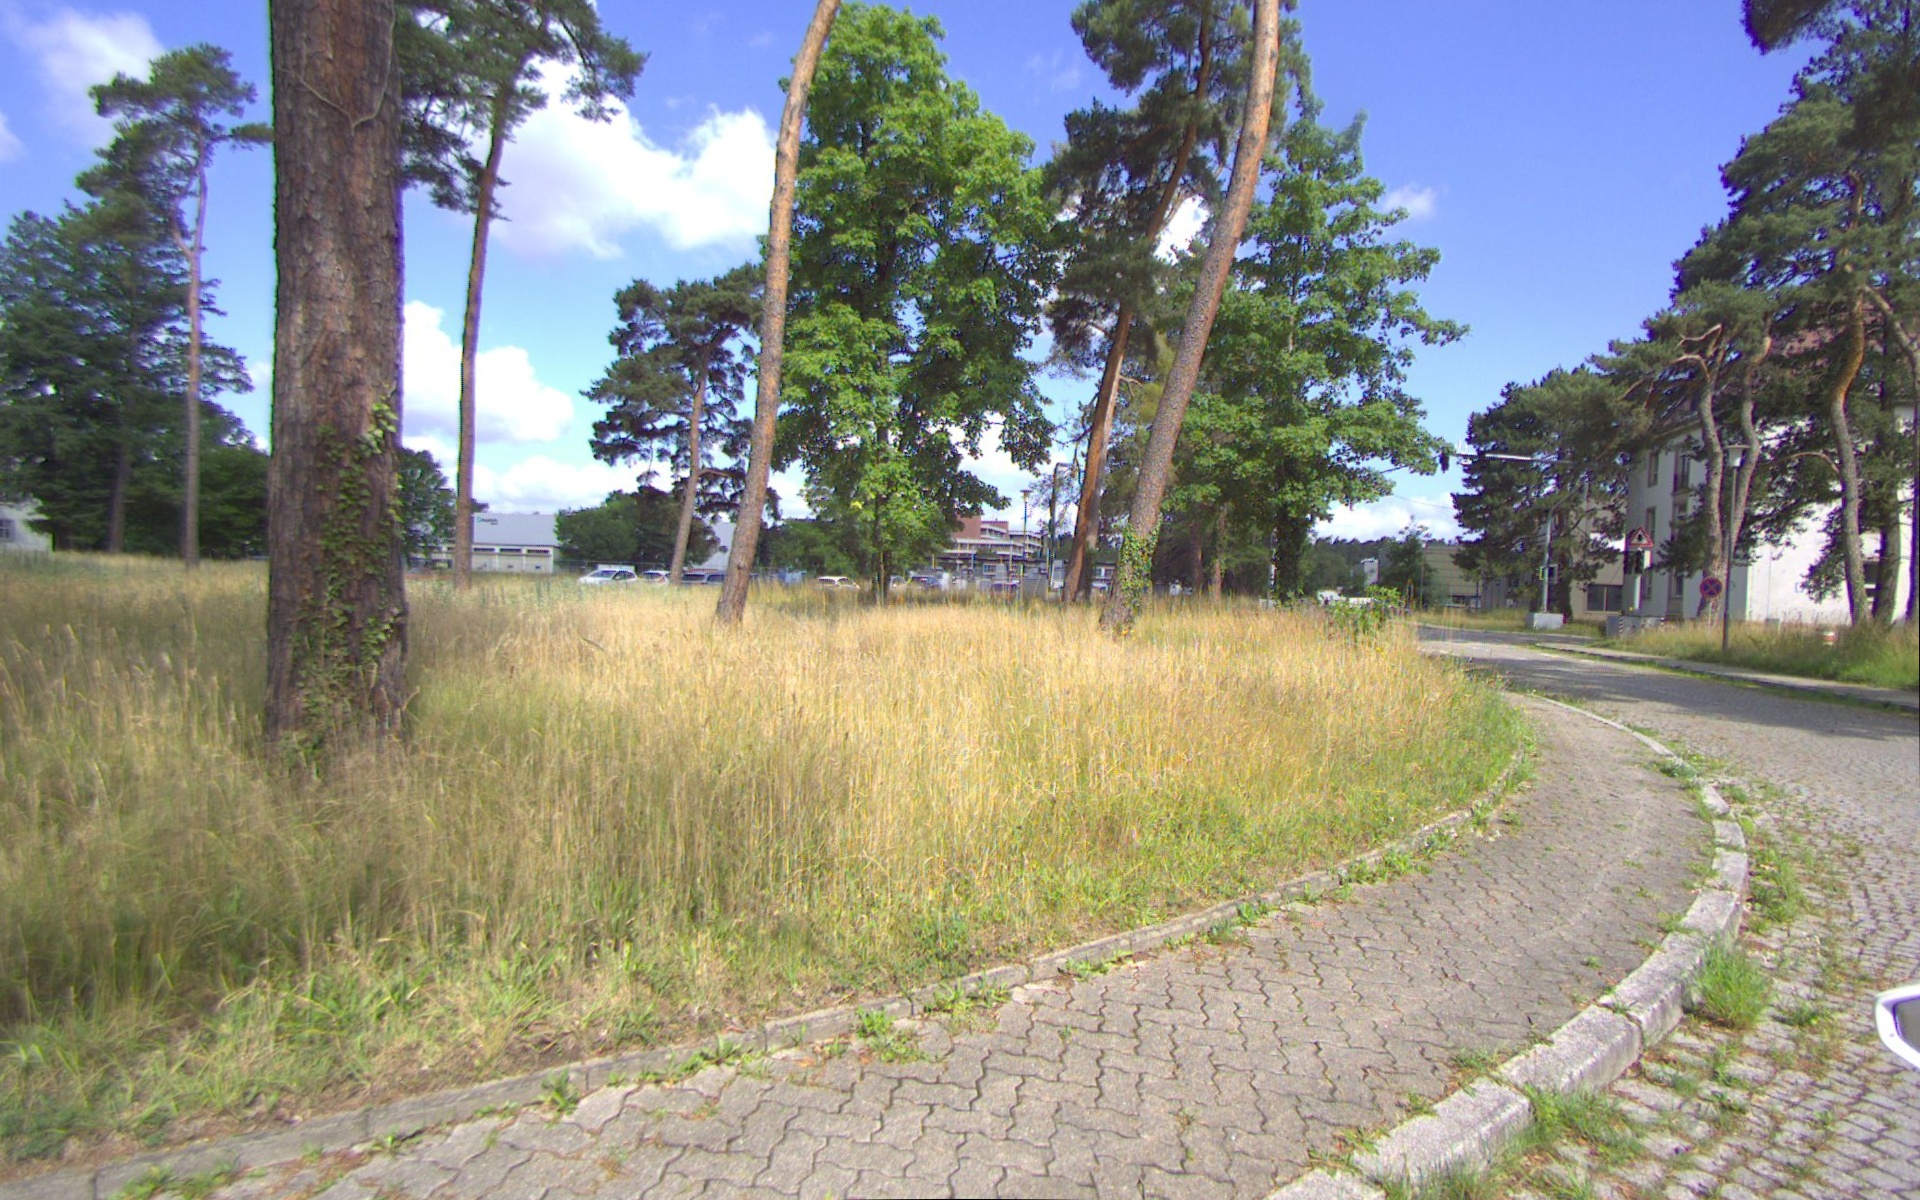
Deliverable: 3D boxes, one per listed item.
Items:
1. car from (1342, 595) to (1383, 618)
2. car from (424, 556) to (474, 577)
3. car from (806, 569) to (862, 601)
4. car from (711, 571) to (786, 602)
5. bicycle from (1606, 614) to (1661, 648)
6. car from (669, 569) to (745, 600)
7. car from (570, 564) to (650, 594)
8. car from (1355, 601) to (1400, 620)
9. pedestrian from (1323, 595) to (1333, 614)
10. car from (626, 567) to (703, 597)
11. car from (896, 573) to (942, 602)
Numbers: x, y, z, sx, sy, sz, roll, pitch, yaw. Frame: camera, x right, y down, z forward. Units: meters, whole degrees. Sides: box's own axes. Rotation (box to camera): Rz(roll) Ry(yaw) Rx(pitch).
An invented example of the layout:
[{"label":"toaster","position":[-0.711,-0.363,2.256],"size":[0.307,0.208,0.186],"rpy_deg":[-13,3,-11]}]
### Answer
[{"label":"car","position":[39.795,0.642,99.212],"size":[3.622,2.116,1.729],"rpy_deg":[3,1,25]},{"label":"car","position":[-46.959,-3.042,92.389],"size":[1.862,1.725,4.081],"rpy_deg":[3,1,14]},{"label":"car","position":[-7.339,-0.853,58.764],"size":[1.862,1.725,4.081],"rpy_deg":[3,1,14]},{"label":"car","position":[-9.983,-0.636,47.647],"size":[1.862,1.327,4.081],"rpy_deg":[3,1,14]},{"label":"bicycle","position":[24.560,1.130,36.660],"size":[1.557,1.115,0.491],"rpy_deg":[3,1,27]},{"label":"car","position":[-12.158,-0.724,48.545],"size":[1.862,1.337,4.081],"rpy_deg":[3,1,14]},{"label":"car","position":[-17.611,-1.017,50.717],"size":[1.862,1.367,4.073],"rpy_deg":[3,1,14]},{"label":"car","position":[37.491,0.949,90.091],"size":[3.622,1.523,1.729],"rpy_deg":[3,1,25]},{"label":"pedestrian","position":[40.354,0.536,110.109],"size":[0.950,2.040,1.054],"rpy_deg":[3,1,23]},{"label":"car","position":[-14.639,-0.880,49.969],"size":[1.862,1.356,4.081],"rpy_deg":[3,1,14]},{"label":"car","position":[-2.667,-0.800,66.080],"size":[1.862,1.725,4.081],"rpy_deg":[3,1,14]}]
